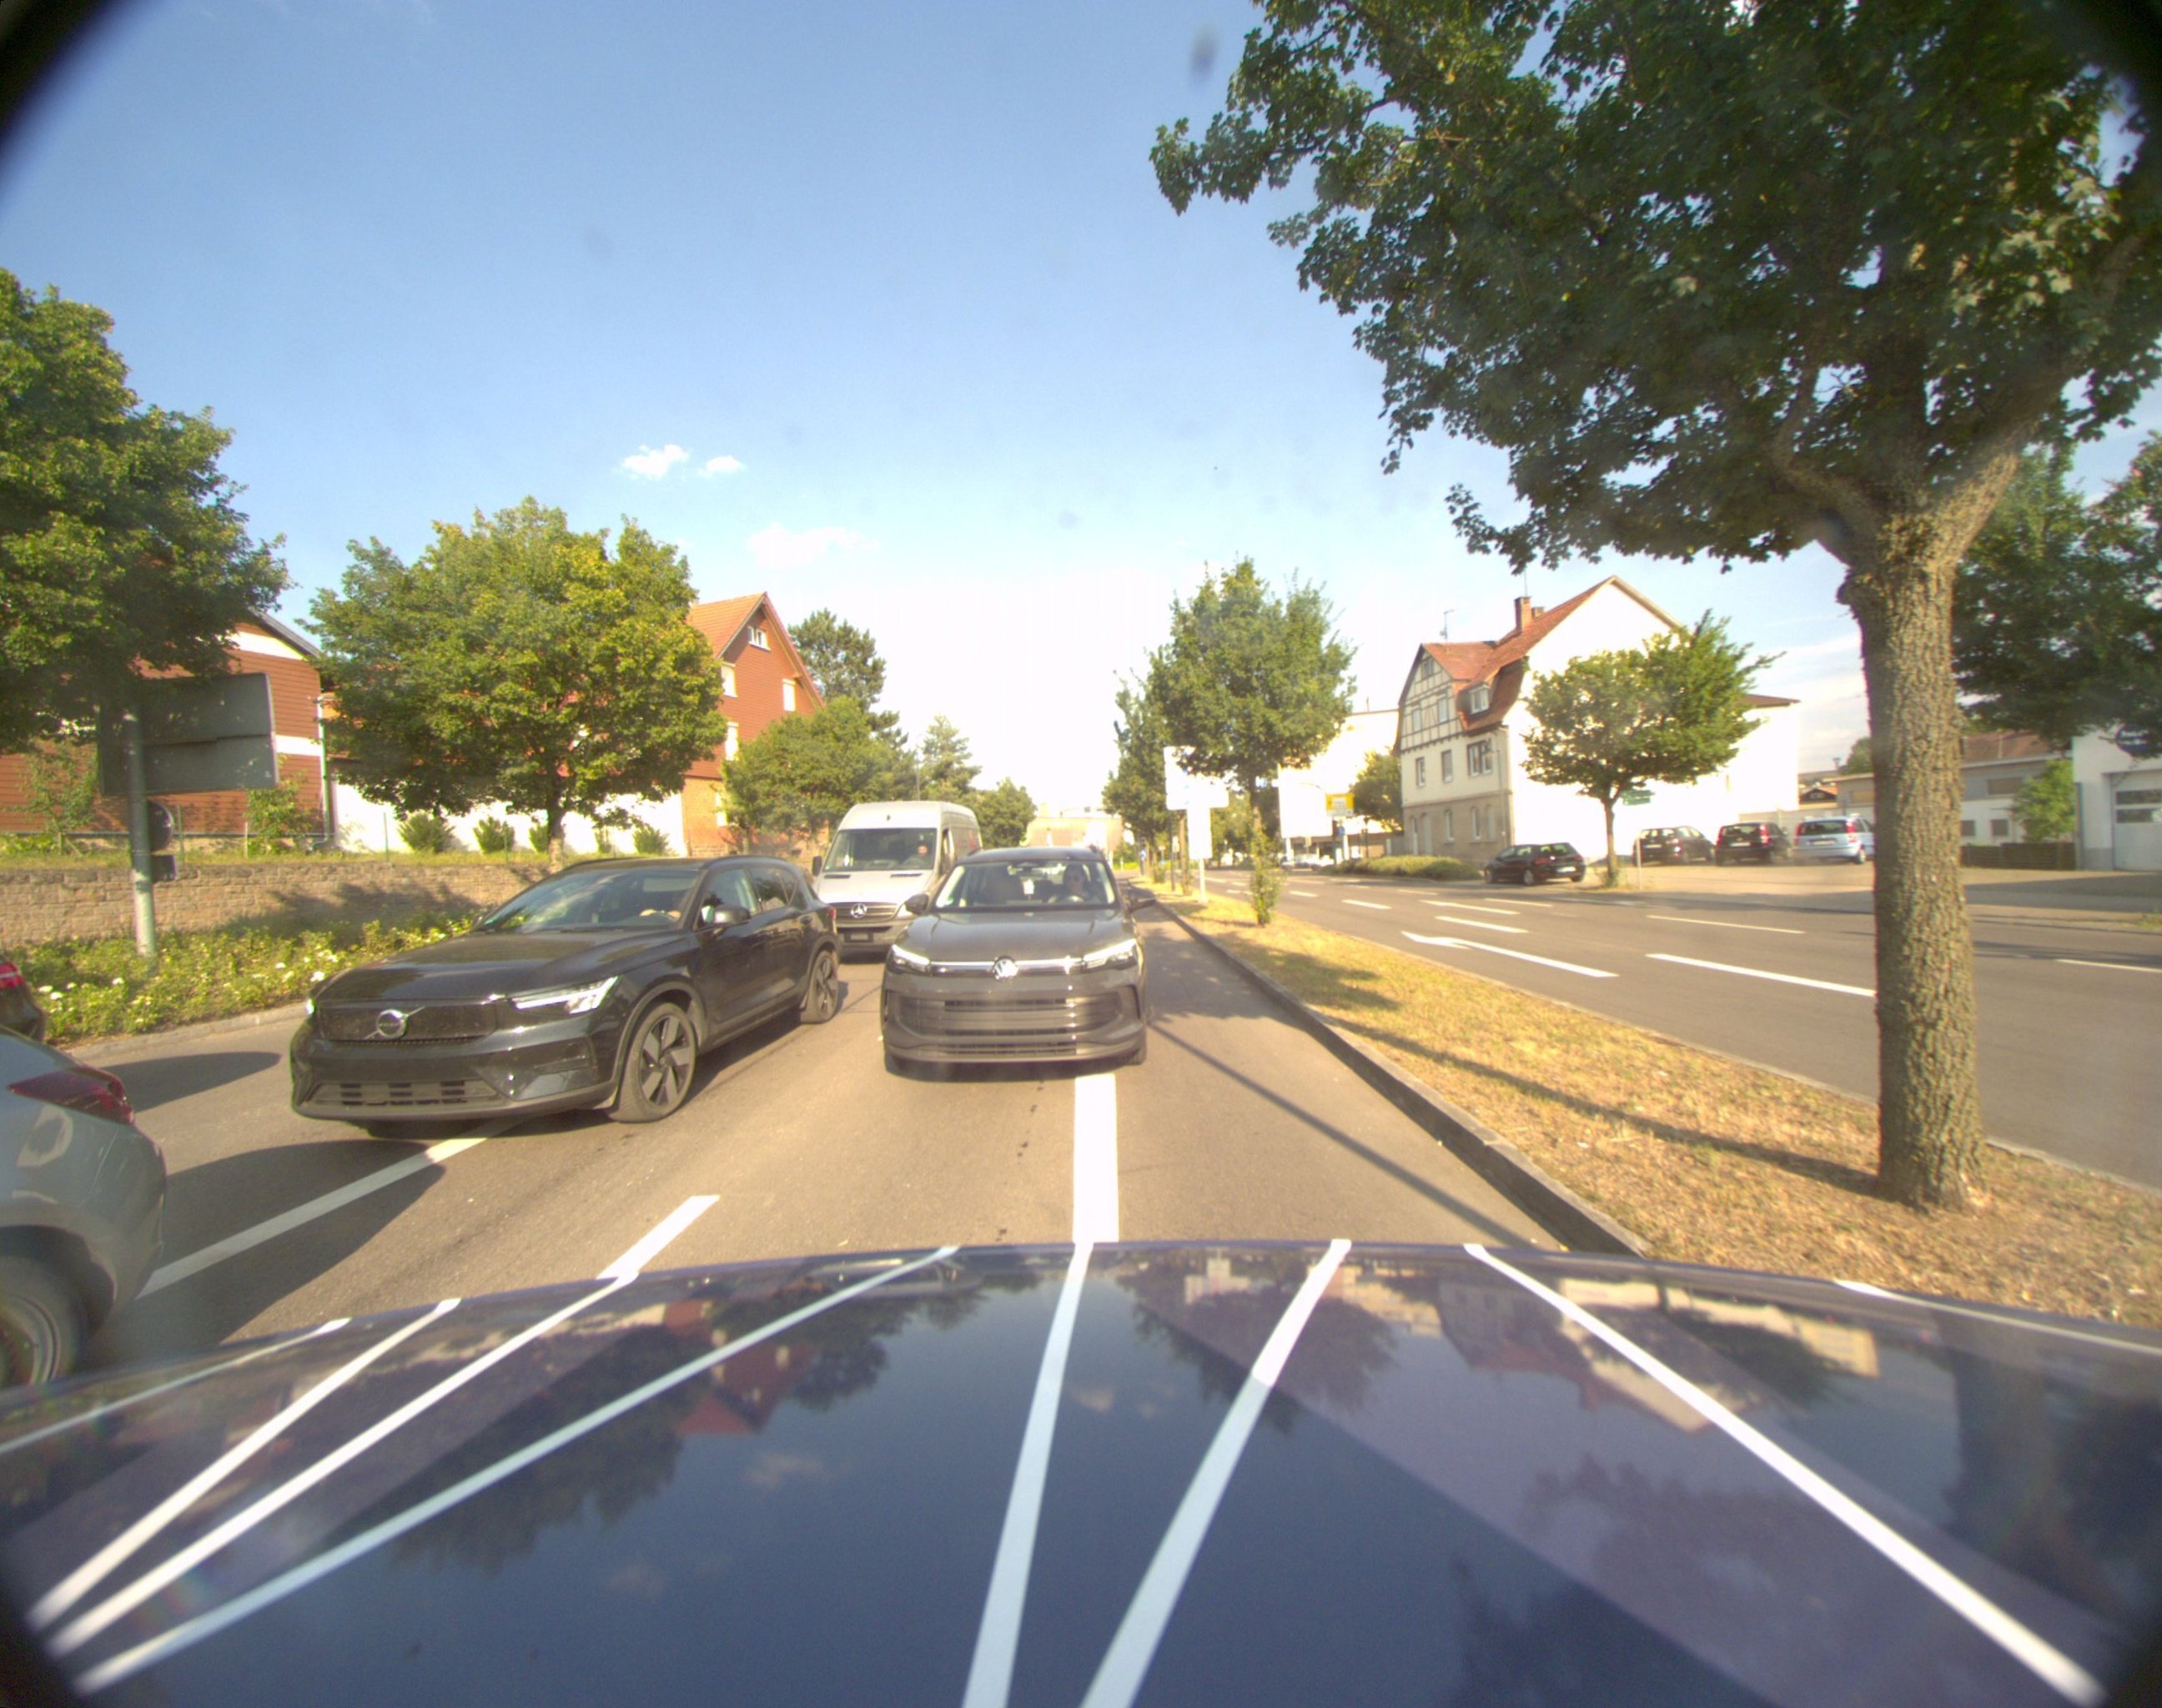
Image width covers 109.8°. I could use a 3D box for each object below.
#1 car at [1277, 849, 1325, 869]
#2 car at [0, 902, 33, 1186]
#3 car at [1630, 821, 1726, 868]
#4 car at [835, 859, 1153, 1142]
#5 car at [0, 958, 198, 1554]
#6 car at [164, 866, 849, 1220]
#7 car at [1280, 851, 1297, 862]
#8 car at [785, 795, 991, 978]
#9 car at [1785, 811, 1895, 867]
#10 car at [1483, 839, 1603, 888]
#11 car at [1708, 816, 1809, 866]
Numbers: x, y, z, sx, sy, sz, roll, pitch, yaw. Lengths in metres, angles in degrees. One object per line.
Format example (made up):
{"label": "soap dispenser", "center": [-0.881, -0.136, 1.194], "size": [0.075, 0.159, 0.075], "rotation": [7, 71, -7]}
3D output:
{"label": "car", "center": [19.894, 0.465, 68.874], "size": [3.994, 1.622, 1.862], "rotation": [-2, 0, 10]}
{"label": "car", "center": [-7.106, 1.100, 2.171], "size": [1.766, 1.599, 4.566], "rotation": [-1, 0, 3]}
{"label": "car", "center": [23.380, -0.385, 29.740], "size": [3.830, 1.493, 1.816], "rotation": [-5, 0, -35]}
{"label": "car", "center": [-0.449, 0.874, 6.605], "size": [1.845, 1.600, 4.318], "rotation": [-1, 0, 2]}
{"label": "car", "center": [-3.611, 1.061, 0.168], "size": [1.766, 1.445, 4.318], "rotation": [-1, 0, 0]}
{"label": "car", "center": [-3.414, 0.951, 5.800], "size": [1.845, 1.600, 4.318], "rotation": [-1, 0, 2]}
{"label": "car", "center": [37.020, 0.426, 135.601], "size": [1.778, 1.683, 4.007], "rotation": [-2, 0, 30]}
{"label": "car", "center": [-3.069, 0.453, 13.701], "size": [1.992, 2.554, 6.046], "rotation": [-1, 0, 2]}
{"label": "car", "center": [24.881, -0.496, 24.878], "size": [3.830, 1.493, 1.816], "rotation": [-5, 0, -35]}
{"label": "car", "center": [16.035, 0.286, 26.606], "size": [1.818, 1.442, 3.825], "rotation": [-5, 0, 1]}
{"label": "car", "center": [24.659, -0.482, 27.644], "size": [3.830, 1.493, 1.816], "rotation": [-5, 0, -35]}
